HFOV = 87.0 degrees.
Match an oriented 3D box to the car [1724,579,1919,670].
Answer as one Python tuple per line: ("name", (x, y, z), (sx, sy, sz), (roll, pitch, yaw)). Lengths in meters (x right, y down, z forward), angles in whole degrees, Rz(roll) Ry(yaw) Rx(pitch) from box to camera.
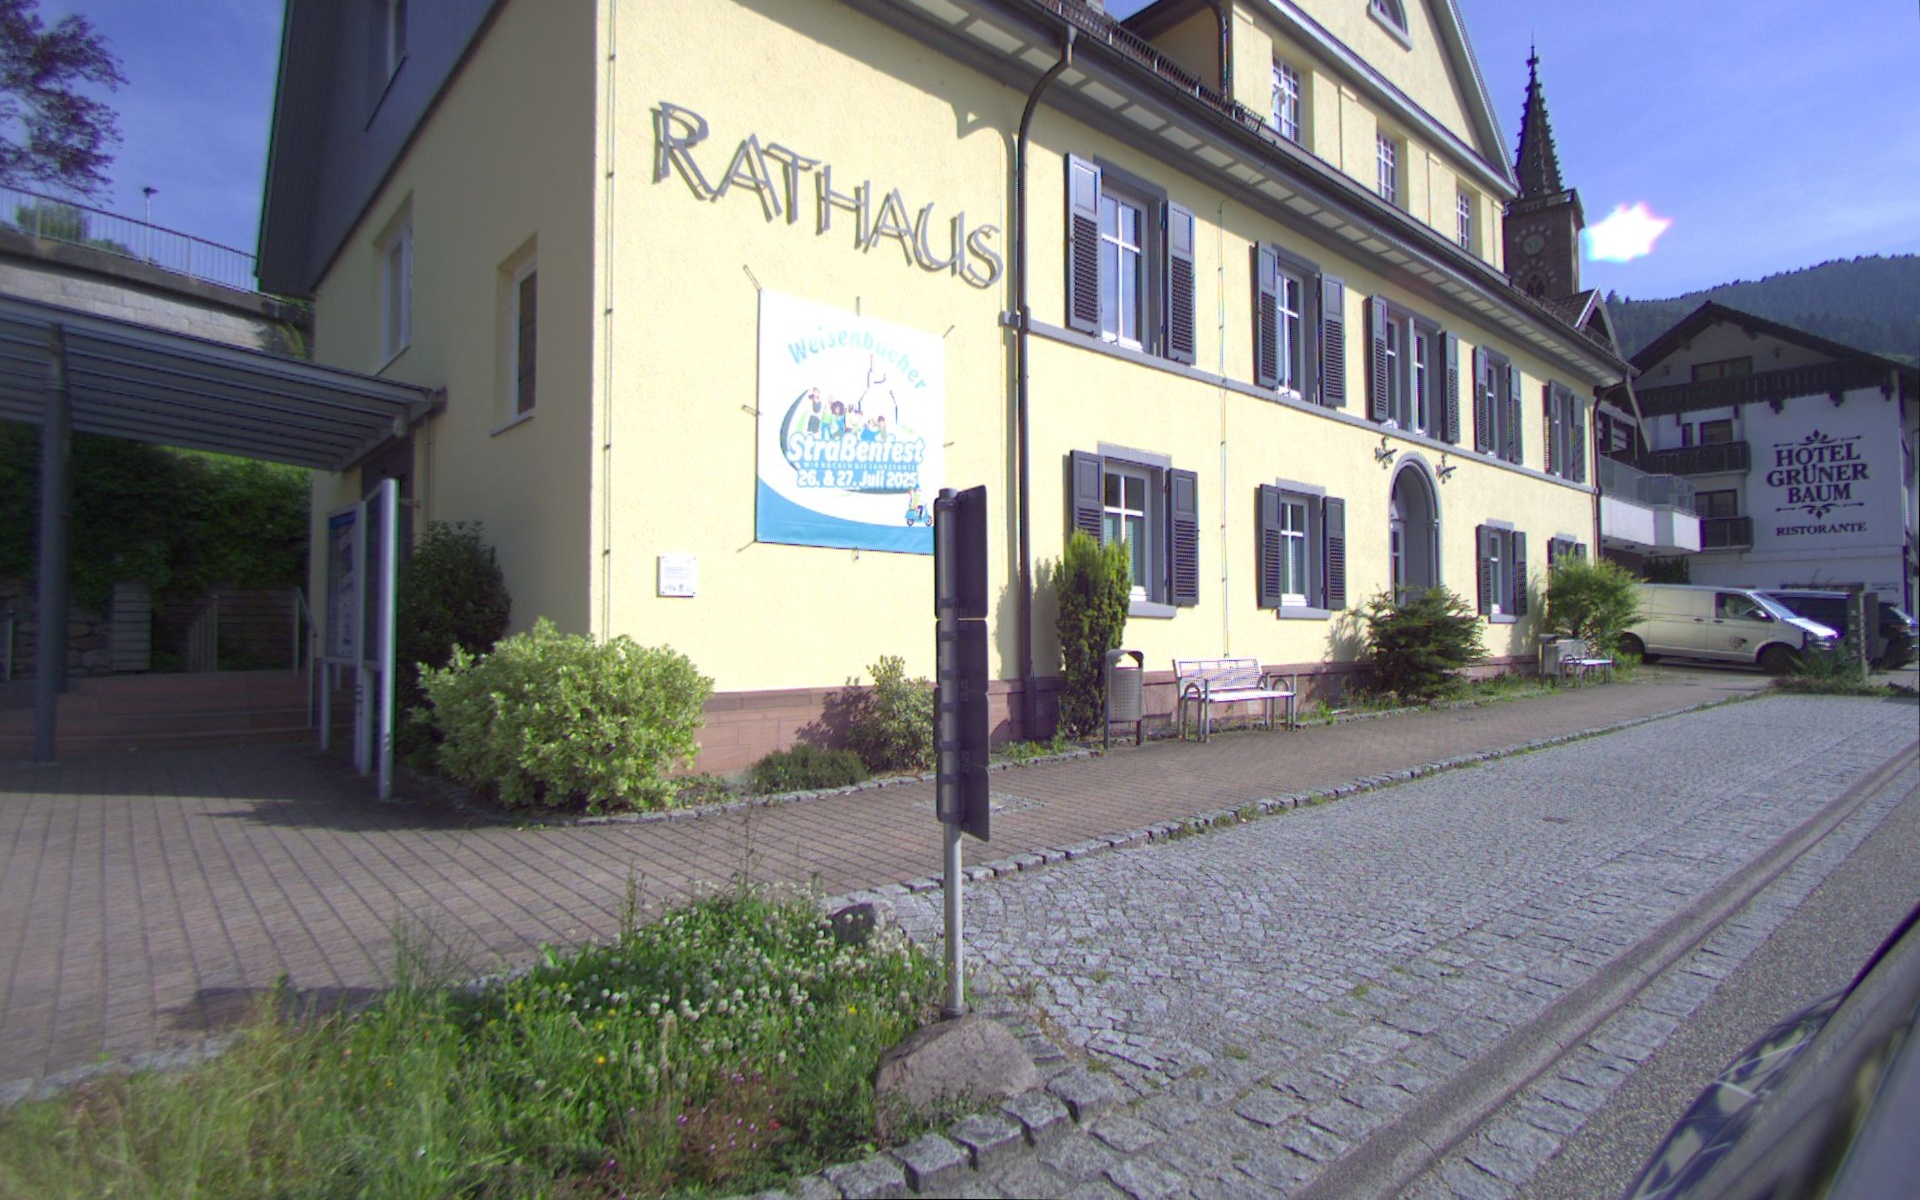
("car", (21.041, 0.528, 24.515), (1.346, 1.916, 3.757), (1, 2, -38))

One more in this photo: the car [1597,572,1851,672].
("car", (17.972, 0.432, 24.001), (1.682, 1.982, 4.456), (1, 3, -38))

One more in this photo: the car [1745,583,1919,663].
("car", (23.009, 0.545, 26.165), (1.654, 1.905, 3.998), (1, 1, -38))
